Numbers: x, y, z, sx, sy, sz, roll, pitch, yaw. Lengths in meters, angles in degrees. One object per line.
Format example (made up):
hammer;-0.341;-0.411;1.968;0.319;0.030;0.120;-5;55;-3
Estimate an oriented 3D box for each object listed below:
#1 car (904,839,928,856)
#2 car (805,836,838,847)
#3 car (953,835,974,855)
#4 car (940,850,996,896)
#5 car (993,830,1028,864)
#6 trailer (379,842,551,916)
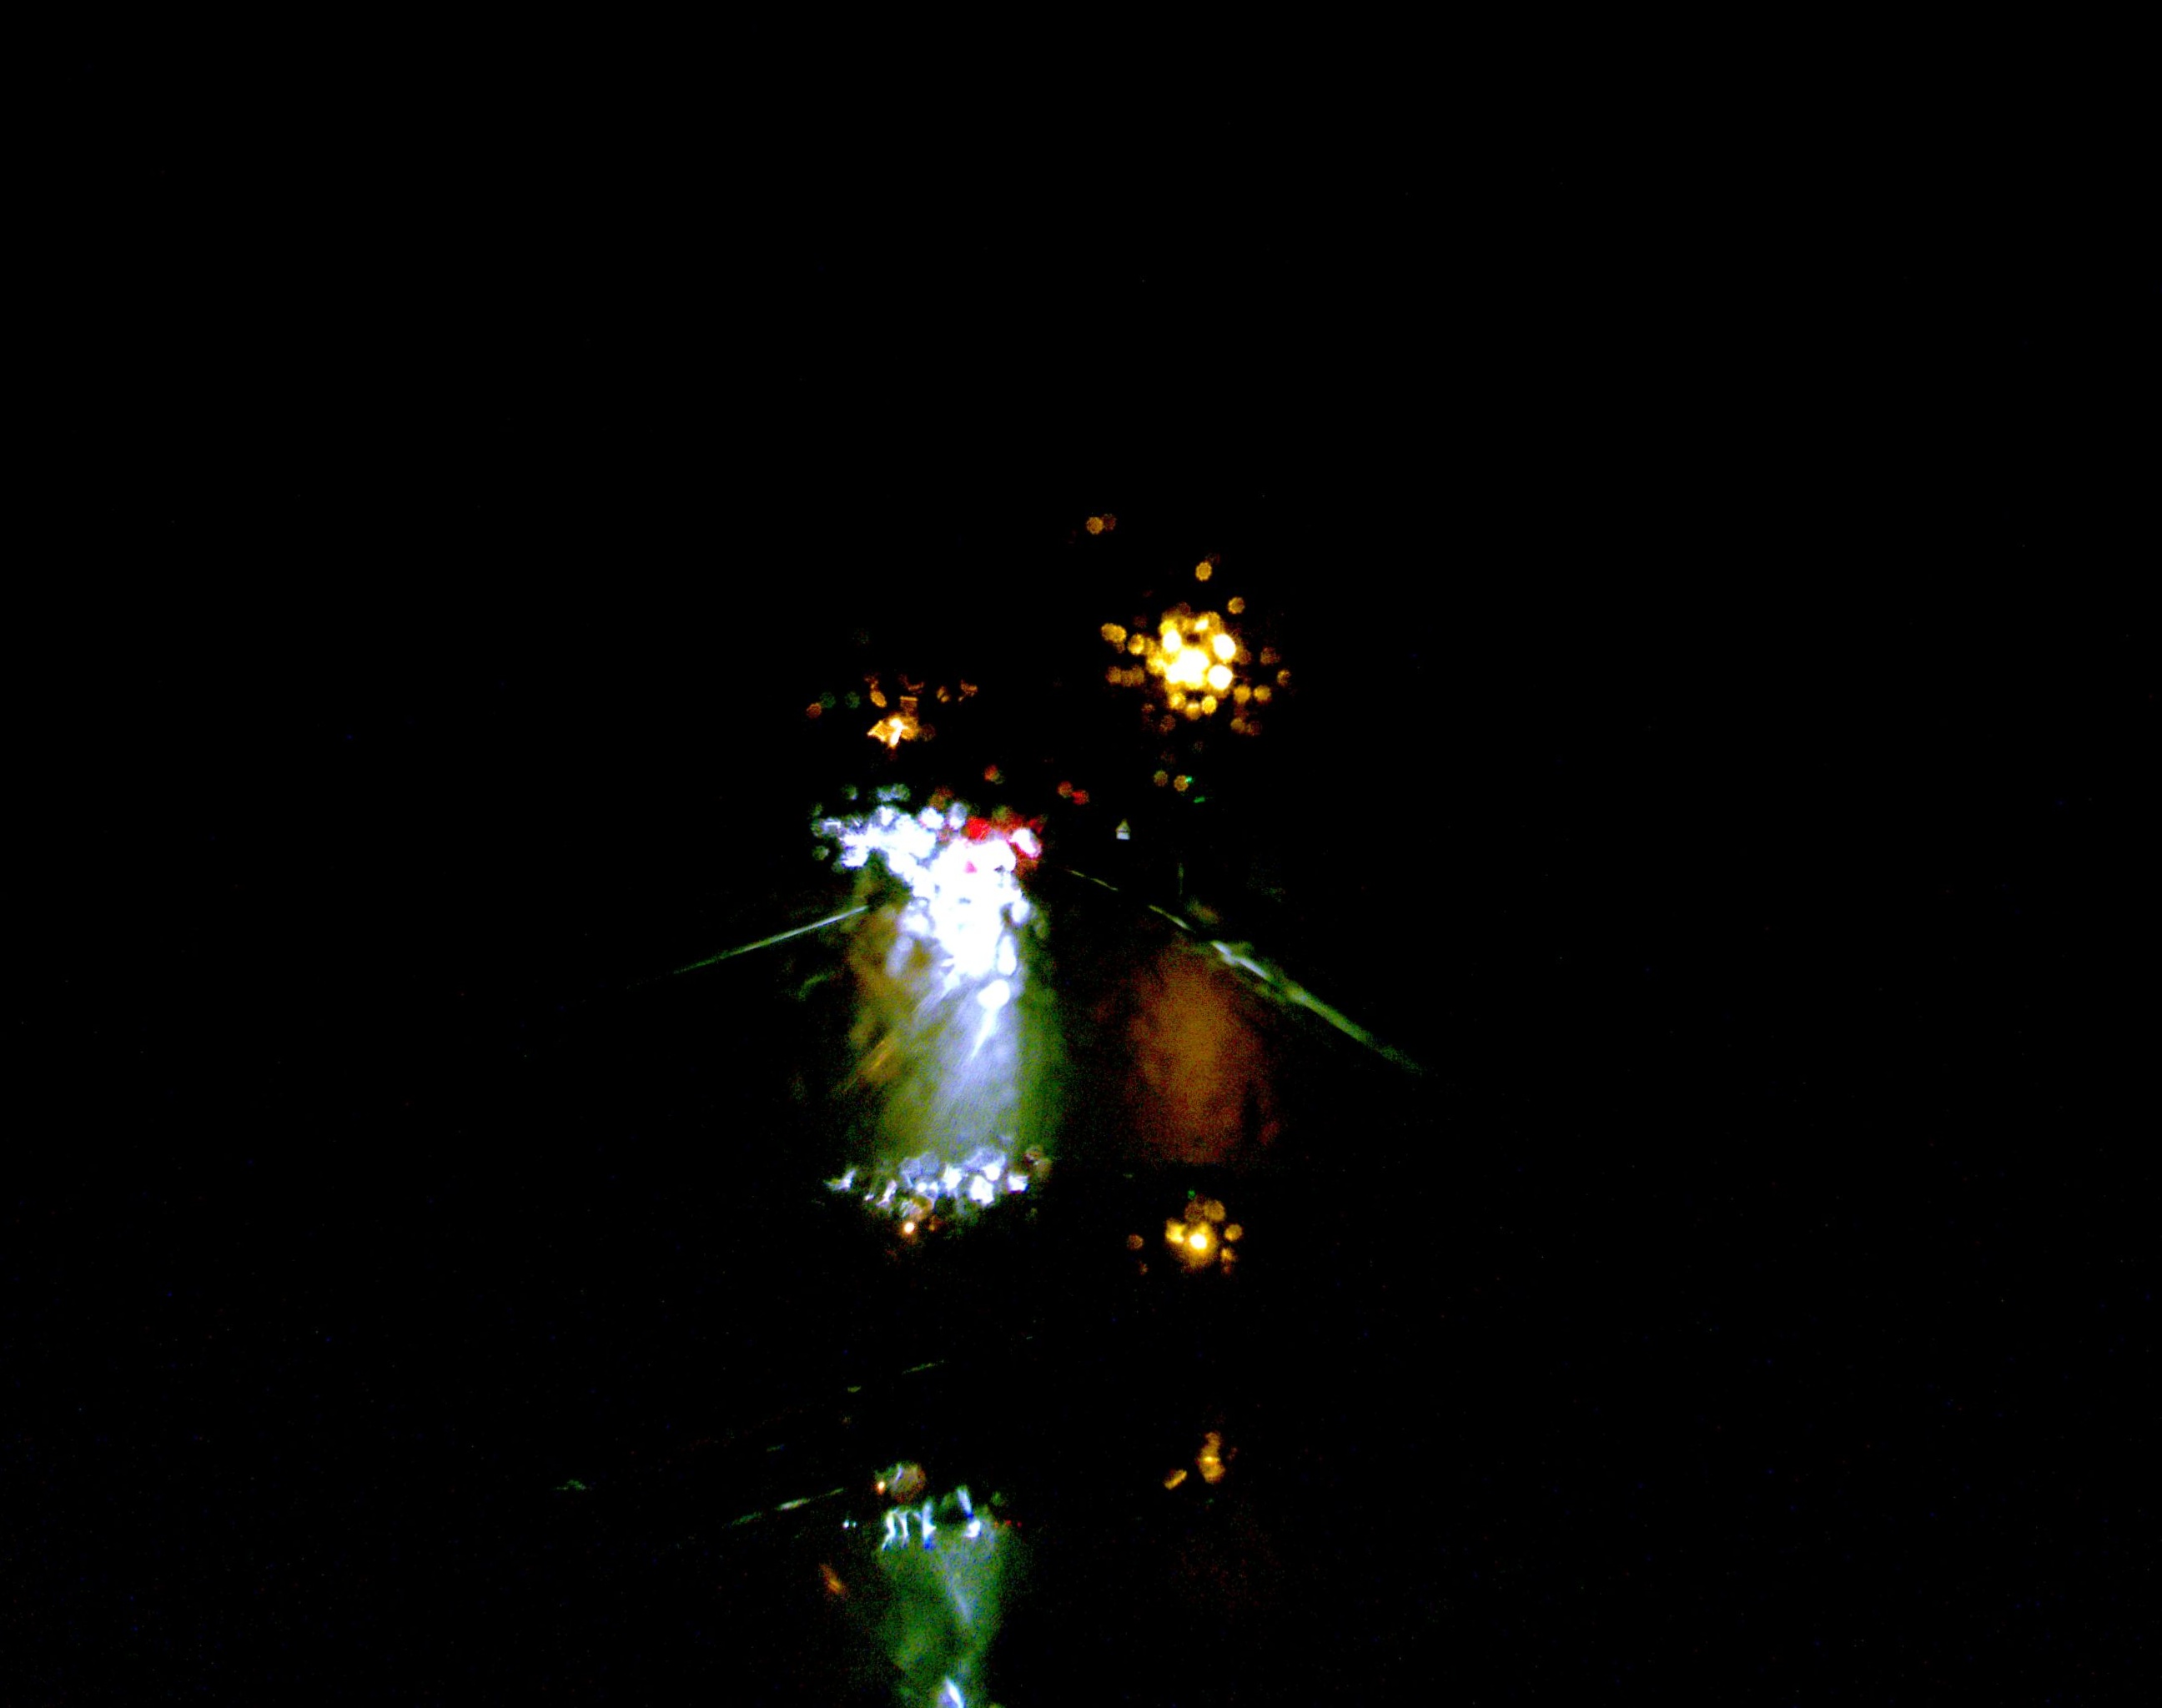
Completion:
car;-20.157;-0.760;99.126;2.001;2.014;4.810;3;-1;-22
car;-42.316;-2.085;133.002;4.936;1.734;1.984;0;2;-25
car;-13.093;-0.968;90.640;1.995;2.014;3.982;2;-2;-13
car;-4.034;0.652;29.592;1.632;1.510;4.112;-1;-1;-3
car;-5.612;-0.625;63.989;2.536;2.497;5.701;0;2;-7
trailer;-15.782;0.551;21.168;1.813;1.677;4.087;-2;1;-10
